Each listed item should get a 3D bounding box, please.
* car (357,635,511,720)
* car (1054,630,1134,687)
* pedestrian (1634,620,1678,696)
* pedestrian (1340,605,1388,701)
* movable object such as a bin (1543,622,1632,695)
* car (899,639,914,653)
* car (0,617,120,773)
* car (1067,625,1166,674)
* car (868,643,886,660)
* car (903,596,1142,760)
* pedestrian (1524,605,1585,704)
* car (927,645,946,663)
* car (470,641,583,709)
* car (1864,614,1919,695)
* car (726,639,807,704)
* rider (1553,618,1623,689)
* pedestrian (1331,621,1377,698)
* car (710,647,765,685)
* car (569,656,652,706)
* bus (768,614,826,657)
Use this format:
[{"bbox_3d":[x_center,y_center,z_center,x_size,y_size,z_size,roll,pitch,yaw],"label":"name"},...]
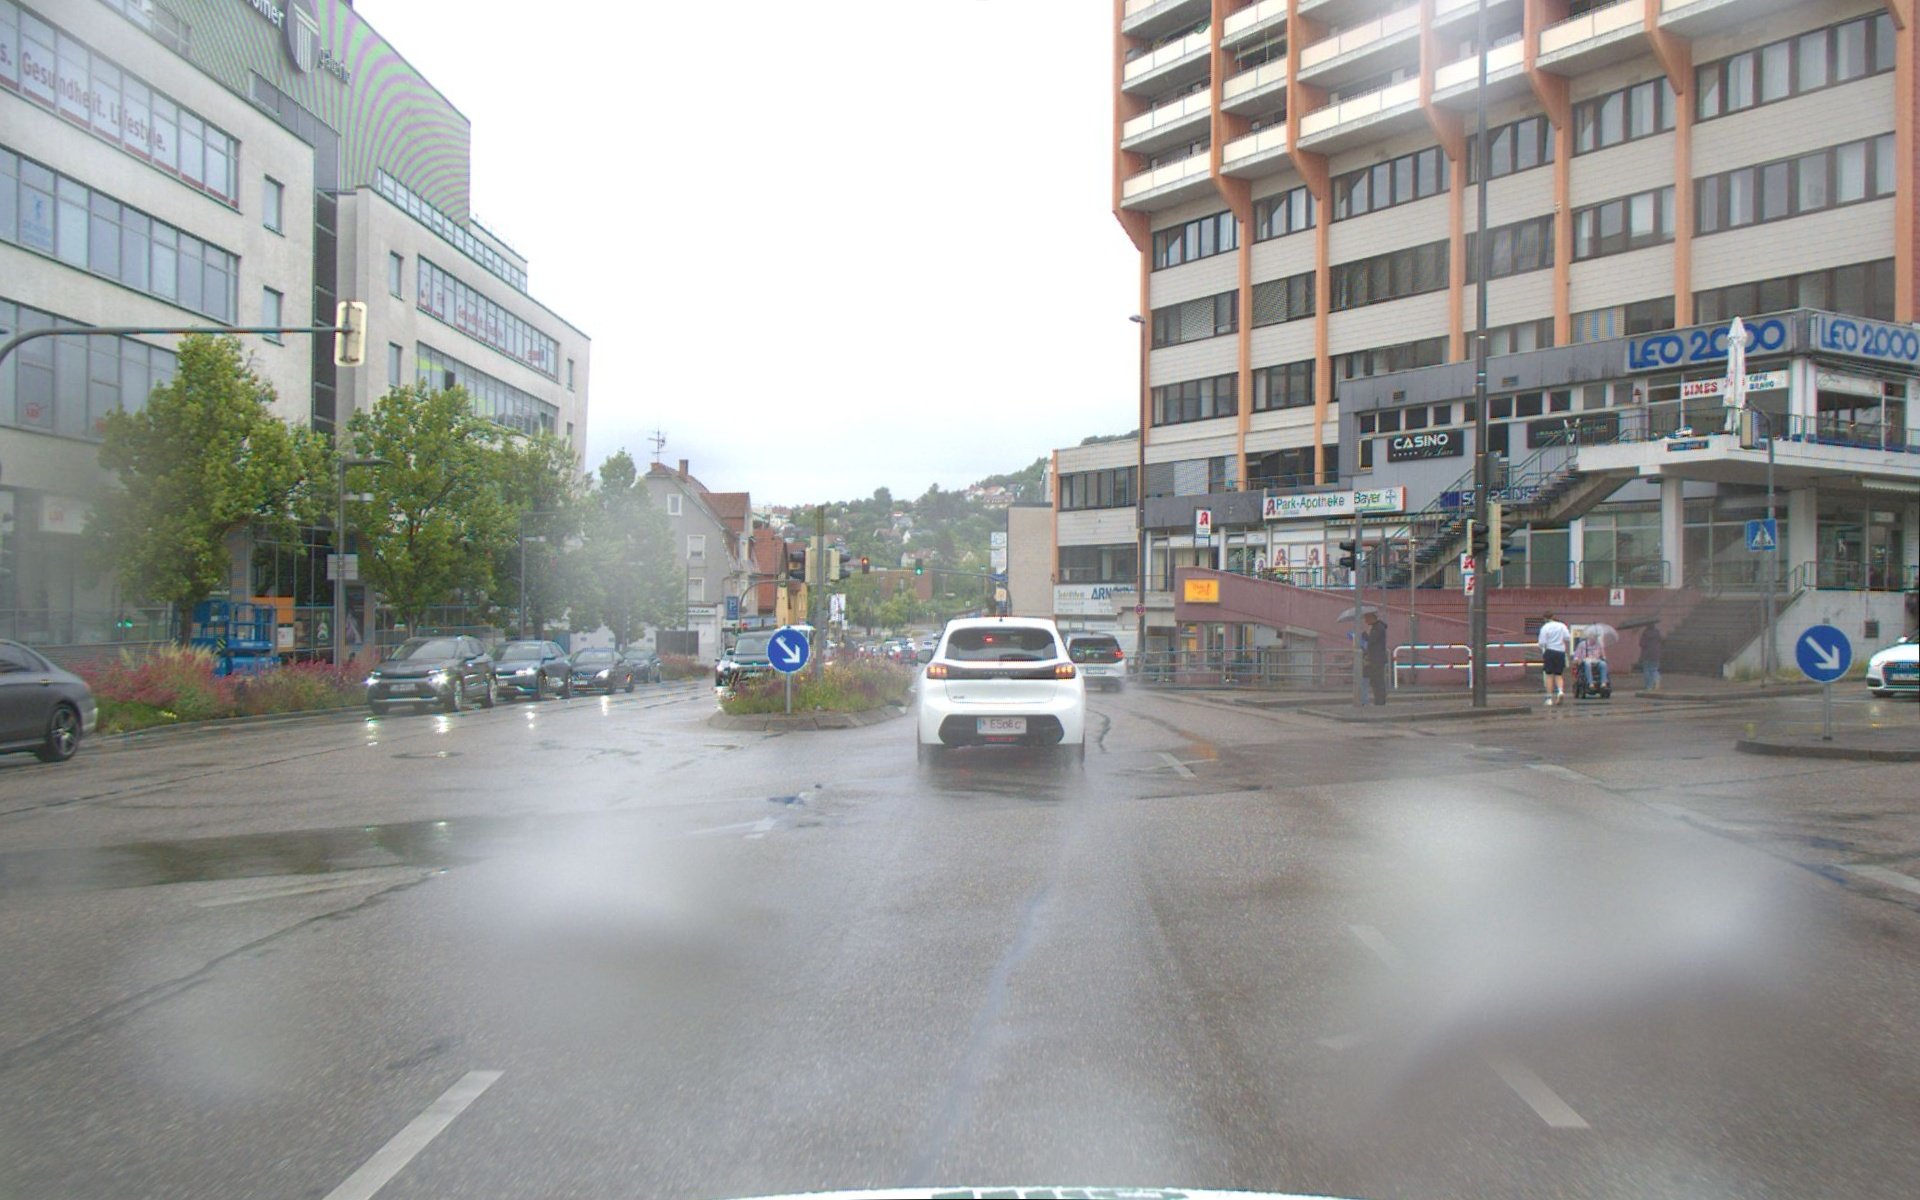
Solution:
[{"bbox_3d":[-11.554,1.652,36.668,1.837,1.622,4.524,-4,-1,1],"label":"car"},{"bbox_3d":[3.544,1.546,44.251,1.872,1.425,3.458,0,-1,1],"label":"car"},{"bbox_3d":[15.792,1.303,37.555,0.777,1.698,0.931,0,-1,14],"label":"pedestrian"},{"bbox_3d":[7.105,0.925,29.104,0.693,1.635,0.656,-1,1,3],"label":"pedestrian"},{"bbox_3d":[12.270,1.150,32.396,1.107,1.355,1.454,-3,-2,0],"label":"movable object such as a bin"},{"bbox_3d":[-6.443,5.567,198.885,1.711,1.582,3.999,-1,-1,-1],"label":"car"},{"bbox_3d":[-11.259,1.027,17.906,1.881,1.660,4.902,0,0,-1],"label":"car"},{"bbox_3d":[7.437,2.324,79.004,1.978,2.265,4.913,0,-1,-36],"label":"car"},{"bbox_3d":[-8.518,5.256,168.978,1.711,1.582,3.999,-1,-1,-1],"label":"car"},{"bbox_3d":[0.781,0.748,17.534,1.832,1.488,3.876,1,0,13],"label":"car"},{"bbox_3d":[10.625,0.958,29.593,0.810,1.720,1.129,0,-1,8],"label":"pedestrian"},{"bbox_3d":[-2.258,5.159,158.267,1.711,1.582,3.999,-1,-1,-1],"label":"car"},{"bbox_3d":[-11.746,2.001,45.117,1.737,1.622,4.588,-4,-1,1],"label":"car"},{"bbox_3d":[18.871,0.961,30.708,4.736,1.431,1.790,0,-2,-36],"label":"car"},{"bbox_3d":[-5.958,2.213,51.389,1.953,1.855,4.297,-2,-3,0],"label":"car"},{"bbox_3d":[12.261,1.032,32.340,0.903,1.307,1.090,-3,0,-1],"label":"rider"},{"bbox_3d":[7.133,1.070,29.960,0.693,1.369,0.656,-1,-1,3],"label":"pedestrian"},{"bbox_3d":[-9.010,2.655,67.311,1.690,1.412,4.453,-1,-1,-1],"label":"car"},{"bbox_3d":[-10.901,2.491,51.894,1.690,1.412,4.599,-1,-1,-1],"label":"car"},{"bbox_3d":[-11.224,2.400,114.737,2.878,2.832,9.504,-1,-1,1],"label":"bus"}]
